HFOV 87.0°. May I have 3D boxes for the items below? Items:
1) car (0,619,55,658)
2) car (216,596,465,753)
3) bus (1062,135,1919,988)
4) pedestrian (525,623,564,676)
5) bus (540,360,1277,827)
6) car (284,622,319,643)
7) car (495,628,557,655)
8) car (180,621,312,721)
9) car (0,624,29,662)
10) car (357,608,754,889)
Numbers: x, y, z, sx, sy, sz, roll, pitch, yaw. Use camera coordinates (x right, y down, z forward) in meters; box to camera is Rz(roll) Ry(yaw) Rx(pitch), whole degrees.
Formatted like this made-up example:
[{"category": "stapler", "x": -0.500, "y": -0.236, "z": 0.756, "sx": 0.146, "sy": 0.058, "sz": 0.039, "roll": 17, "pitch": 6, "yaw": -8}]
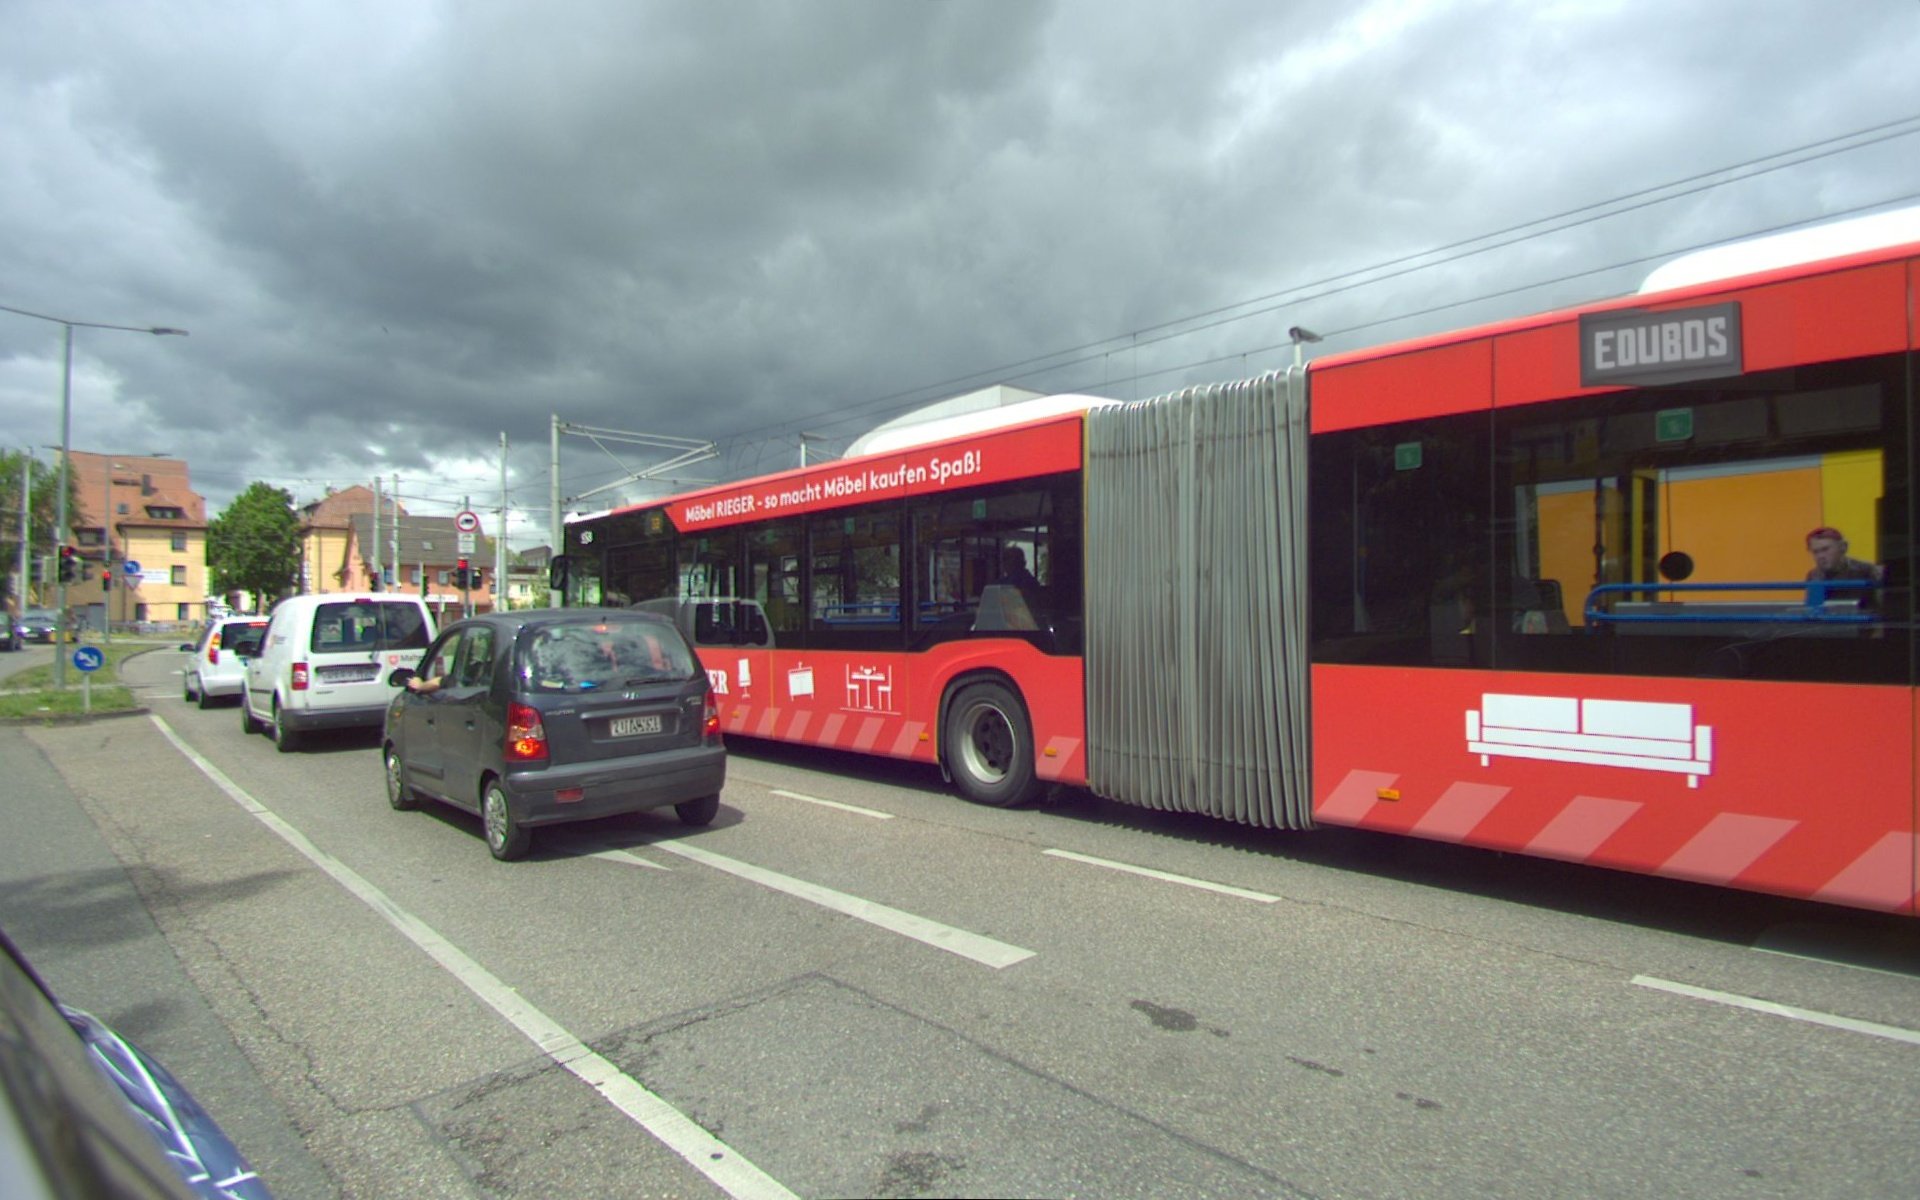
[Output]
[{"category": "car", "x": -43.571, "y": 1.827, "z": 47.074, "sx": 1.970, "sy": 1.662, "sz": 4.423, "roll": 1, "pitch": -4, "yaw": -44}, {"category": "car", "x": -8.094, "y": 0.912, "z": 13.025, "sx": 1.741, "sy": 1.675, "sz": 4.508, "roll": 3, "pitch": -4, "yaw": -44}, {"category": "bus", "x": 4.694, "y": -0.141, "z": 4.335, "sx": 2.693, "sy": 3.093, "sz": 8.973, "roll": 1, "pitch": -2, "yaw": -42}, {"category": "pedestrian", "x": -12.276, "y": 1.448, "z": 29.900, "sx": 0.790, "sy": 1.552, "sz": 0.835, "roll": 2, "pitch": -2, "yaw": -44}, {"category": "bus", "x": -1.572, "y": 0.103, "z": 11.306, "sx": 2.693, "sy": 3.133, "sz": 9.715, "roll": 1, "pitch": -2, "yaw": -42}, {"category": "car", "x": -60.587, "y": 2.994, "z": 93.117, "sx": 2.049, "sy": 1.912, "sz": 4.669, "roll": 0, "pitch": -2, "yaw": -41}, {"category": "car", "x": -32.272, "y": 3.089, "z": 75.456, "sx": 1.977, "sy": 1.836, "sz": 5.059, "roll": 0, "pitch": 0, "yaw": 8}, {"category": "car", "x": -13.537, "y": 1.264, "z": 19.091, "sx": 1.678, "sy": 1.661, "sz": 4.084, "roll": 0, "pitch": -2, "yaw": -41}, {"category": "car", "x": -38.693, "y": 1.740, "z": 40.402, "sx": 1.853, "sy": 1.440, "sz": 4.008, "roll": 1, "pitch": -4, "yaw": -37}, {"category": "car", "x": -3.210, "y": 0.886, "z": 7.612, "sx": 1.511, "sy": 1.563, "sz": 3.736, "roll": -1, "pitch": -1, "yaw": -43}]
